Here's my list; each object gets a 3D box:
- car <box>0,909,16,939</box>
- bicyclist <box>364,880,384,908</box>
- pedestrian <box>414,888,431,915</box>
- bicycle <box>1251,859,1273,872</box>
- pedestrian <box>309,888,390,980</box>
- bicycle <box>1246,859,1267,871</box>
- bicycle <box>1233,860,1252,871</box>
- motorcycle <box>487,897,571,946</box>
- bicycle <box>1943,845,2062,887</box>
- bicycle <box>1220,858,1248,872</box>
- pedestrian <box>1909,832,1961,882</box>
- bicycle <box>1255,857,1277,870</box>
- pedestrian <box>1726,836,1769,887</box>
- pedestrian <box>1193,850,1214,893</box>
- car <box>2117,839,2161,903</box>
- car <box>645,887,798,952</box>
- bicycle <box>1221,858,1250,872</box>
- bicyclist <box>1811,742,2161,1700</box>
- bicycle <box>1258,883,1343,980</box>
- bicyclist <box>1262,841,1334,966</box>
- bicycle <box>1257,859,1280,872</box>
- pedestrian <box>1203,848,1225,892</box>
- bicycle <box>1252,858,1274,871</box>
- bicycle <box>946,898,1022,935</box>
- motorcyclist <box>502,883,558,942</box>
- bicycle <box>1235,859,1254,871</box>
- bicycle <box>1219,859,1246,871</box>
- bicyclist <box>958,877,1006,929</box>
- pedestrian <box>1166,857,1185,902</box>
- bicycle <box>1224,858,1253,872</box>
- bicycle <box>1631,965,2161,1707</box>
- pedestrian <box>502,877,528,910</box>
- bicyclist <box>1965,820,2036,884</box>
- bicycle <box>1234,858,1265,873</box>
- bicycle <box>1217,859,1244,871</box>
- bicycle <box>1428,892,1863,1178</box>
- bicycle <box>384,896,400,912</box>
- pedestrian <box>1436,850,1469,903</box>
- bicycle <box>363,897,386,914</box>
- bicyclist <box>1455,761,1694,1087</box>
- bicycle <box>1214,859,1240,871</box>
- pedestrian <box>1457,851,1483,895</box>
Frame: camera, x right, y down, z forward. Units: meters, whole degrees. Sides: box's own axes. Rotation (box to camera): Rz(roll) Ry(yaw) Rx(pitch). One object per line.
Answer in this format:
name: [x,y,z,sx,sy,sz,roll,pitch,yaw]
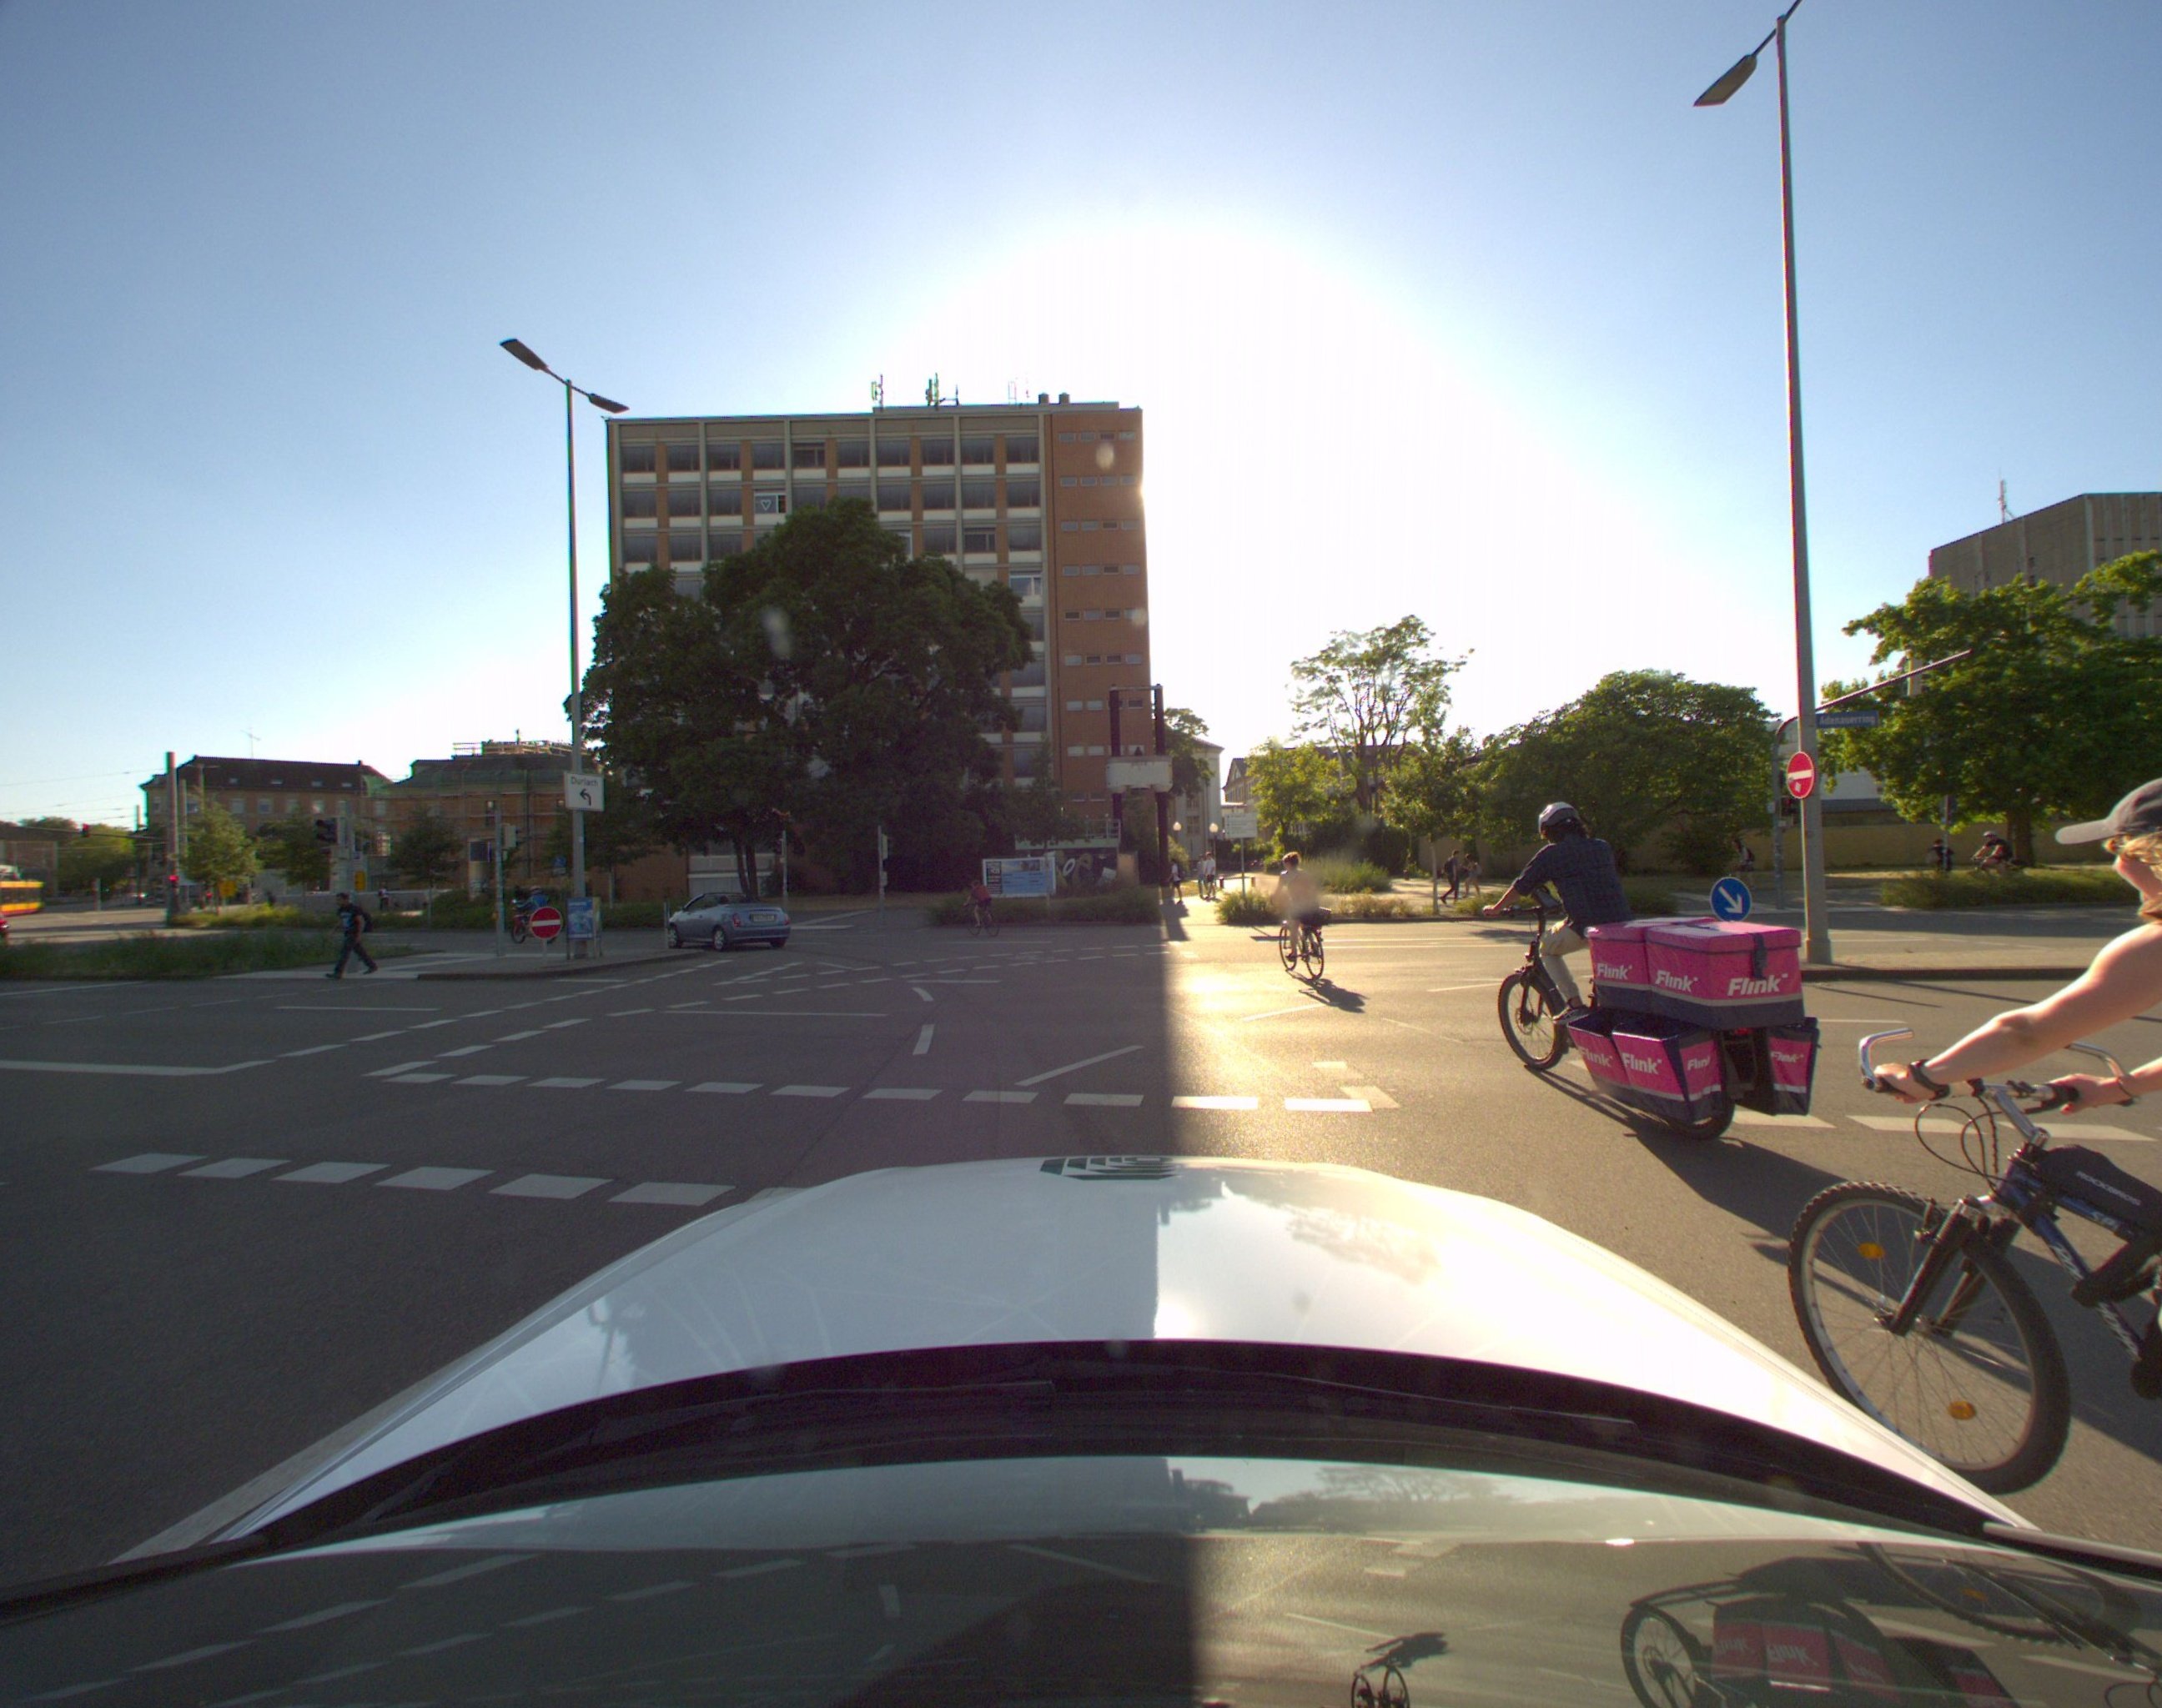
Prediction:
car: [-53.899,3.441,39.750,3.927,1.444,1.818,-2,-2,30]
bicyclist: [-47.605,2.713,54.818,0.882,1.786,0.794,-3,0,38]
pedestrian: [-40.497,2.903,50.072,0.729,1.659,0.709,2,-4,-41]
bicycle: [15.815,0.978,71.203,1.786,1.107,0.501,0,-1,4]
pedestrian: [-14.249,1.535,15.871,0.739,1.685,0.904,-2,-1,20]
bicycle: [15.973,1.032,74.162,1.786,1.107,0.501,0,-1,4]
bicycle: [16.113,1.109,81.157,1.786,1.107,0.501,0,-1,4]
motorcycle: [-16.783,2.036,24.731,2.619,1.377,1.106,-3,-2,31]
bicycle: [27.175,0.361,24.050,2.267,1.156,0.783,-2,-1,13]
bicycle: [16.141,1.161,85.858,2.859,1.381,0.683,0,-1,4]
pedestrian: [27.714,0.095,26.444,0.842,1.543,0.762,-2,0,-2]
bicycle: [15.587,0.773,68.717,1.786,1.107,0.501,0,-1,4]
pedestrian: [22.908,0.271,27.997,0.871,1.704,0.676,-2,-1,-1]
pedestrian: [5.425,0.752,36.067,0.579,1.869,0.616,-2,-1,-35]
car: [28.050,0.348,19.432,3.965,1.519,1.807,-2,-1,7]
car: [-9.085,1.598,20.478,3.926,1.444,1.818,-3,-3,37]
bicycle: [16.104,1.151,84.989,2.859,1.381,0.683,0,-1,4]
bicyclist: [2.104,0.596,1.520,0.713,1.549,0.849,0,-1,0]
bicycle: [3.082,1.042,11.661,0.774,1.156,2.294,-2,0,5]
bicyclist: [3.069,0.672,11.612,0.774,1.677,1.095,-2,0,6]
bicycle: [15.400,0.951,66.784,1.786,1.107,0.501,0,-1,4]
pedestrian: [5.800,0.708,35.527,0.579,1.869,0.616,-2,-1,-35]
bicycle: [15.714,0.944,70.400,1.786,1.107,0.501,0,-1,4]
bicycle: [-2.706,1.729,22.550,2.220,0.952,0.726,-5,-3,39]
motorcyclist: [-16.696,1.762,24.681,0.924,1.721,1.106,-3,-2,31]
bicycle: [15.882,1.088,79.230,1.786,1.107,0.501,0,-1,4]
bicycle: [16.262,1.180,87.567,2.859,1.381,0.683,0,-1,4]
bicyclist: [-2.751,1.354,22.588,1.062,1.384,0.726,-5,-3,39]
pedestrian: [3.719,0.998,31.985,0.624,1.699,0.625,-2,-1,13]
bicycle: [16.039,1.129,82.949,2.859,1.381,0.683,0,-1,4]
bicycle: [2.094,0.989,1.601,0.715,1.121,1.868,-4,4,-1]
pedestrian: [-29.323,2.044,42.198,0.781,1.659,0.812,-2,-2,21]
bicyclist: [27.136,-0.050,24.060,1.082,1.830,0.783,-2,-1,14]
bicycle: [15.979,1.067,77.376,2.859,1.381,0.683,0,-1,4]
bicycle: [16.373,1.197,89.163,2.859,1.381,0.683,0,-1,4]
bicycle: [3.103,0.876,4.971,0.776,1.156,2.579,-2,-1,-2]
bicycle: [-47.181,3.411,55.773,0.631,1.039,1.942,-4,0,-34]
pedestrian: [12.492,0.752,27.391,0.728,1.713,0.713,-2,-1,4]
bicycle: [-47.597,3.455,54.855,1.937,1.039,0.797,-3,0,38]
bicyclist: [3.076,0.399,5.205,0.776,1.833,1.092,-2,-1,-2]
bicycle: [16.342,1.220,91.228,2.859,1.381,0.683,0,-1,4]
pedestrian: [14.119,0.684,29.578,0.634,1.574,0.623,-2,-1,4]
